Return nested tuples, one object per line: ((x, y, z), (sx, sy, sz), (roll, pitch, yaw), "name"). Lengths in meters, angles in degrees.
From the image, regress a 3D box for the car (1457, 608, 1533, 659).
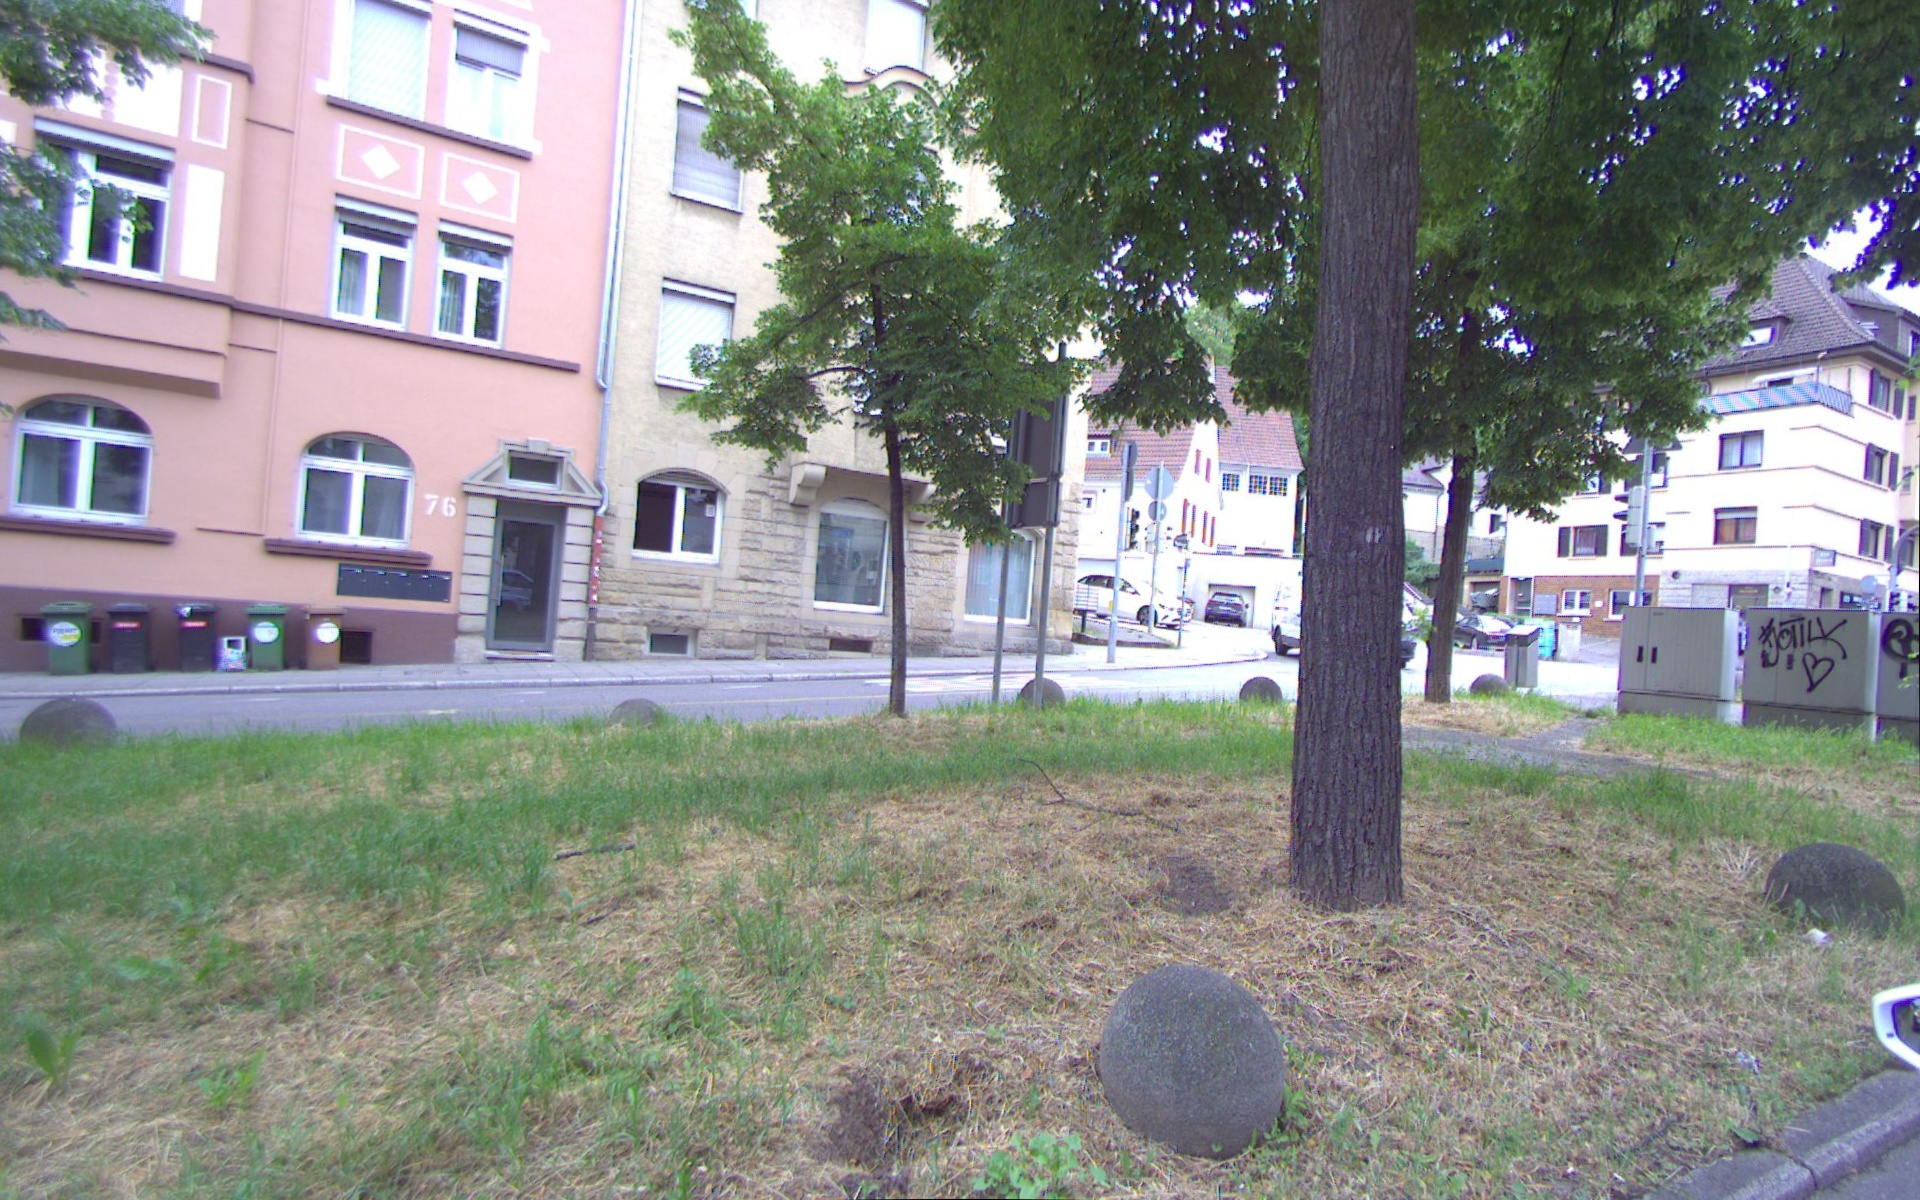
((21.837, 1.329, 41.145), (1.832, 1.619, 3.519), (2, 6, 13), "car")

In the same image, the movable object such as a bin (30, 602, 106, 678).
((-11.651, 0.518, 13.137), (0.611, 0.961, 0.613), (2, 0, -31), "movable object such as a bin")

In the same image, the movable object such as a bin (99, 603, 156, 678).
((-11.155, 0.534, 13.470), (0.528, 0.958, 0.576), (2, 0, -36), "movable object such as a bin")

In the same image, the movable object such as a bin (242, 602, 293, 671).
((-9.805, 0.510, 14.235), (0.554, 0.934, 0.649), (2, 0, -34), "movable object such as a bin")

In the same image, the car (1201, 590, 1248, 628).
((11.765, 0.372, 44.824), (1.638, 1.424, 3.058), (7, 3, 11), "car")

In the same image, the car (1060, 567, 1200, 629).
((5.529, -0.082, 32.993), (4.203, 1.615, 1.682), (7, 4, 42), "car")

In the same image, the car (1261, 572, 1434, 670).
((8.719, 0.406, 23.226), (1.960, 1.971, 5.307), (1, 1, 1), "car")

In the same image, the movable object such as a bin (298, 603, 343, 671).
((-9.273, 0.528, 14.563), (0.510, 0.934, 0.752), (2, 0, -34), "movable object such as a bin")
